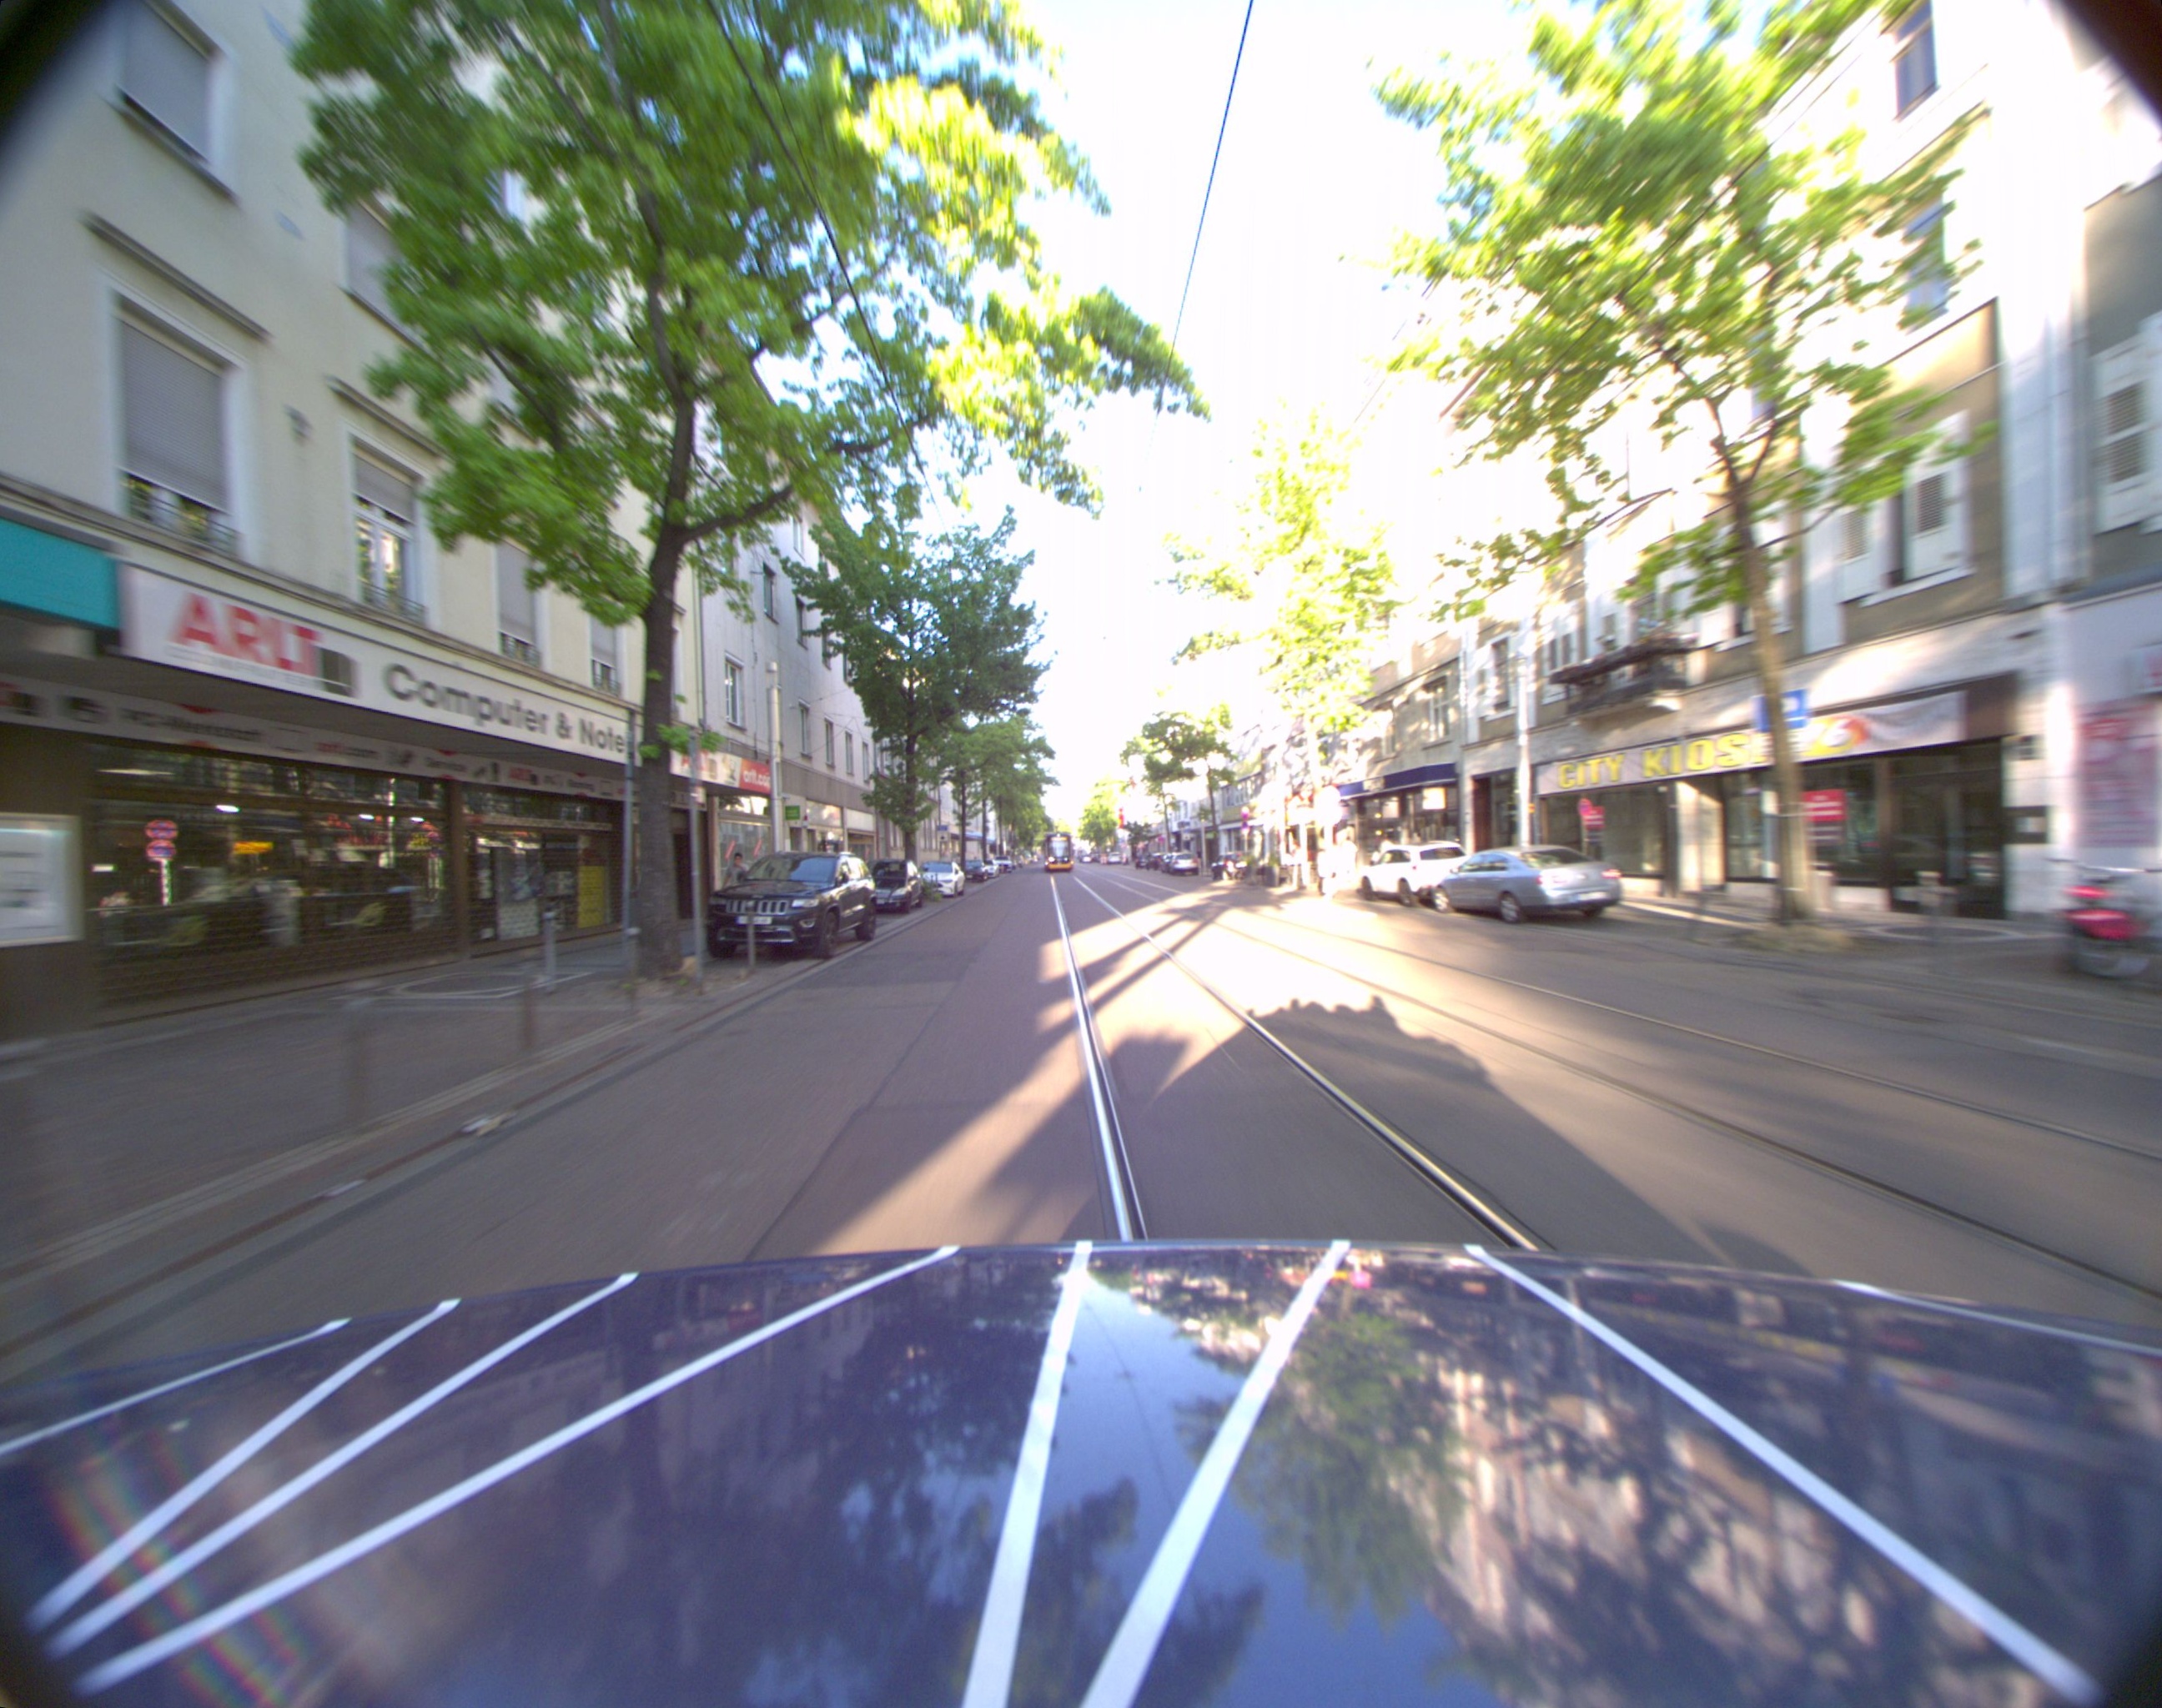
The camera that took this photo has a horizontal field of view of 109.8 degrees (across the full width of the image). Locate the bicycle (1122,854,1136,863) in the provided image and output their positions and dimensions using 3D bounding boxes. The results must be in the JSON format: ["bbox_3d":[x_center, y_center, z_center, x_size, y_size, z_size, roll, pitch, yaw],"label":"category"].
[{"bbox_3d":[6.372,0.609,100.818,1.749,0.986,0.478,-5,0,5],"label":"bicycle"}]

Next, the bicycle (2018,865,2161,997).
[{"bbox_3d":[10.309,0.725,7.738,1.954,1.098,0.566,-4,2,-27],"label":"bicycle"}]

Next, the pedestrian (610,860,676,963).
[{"bbox_3d":[-7.303,0.933,12.698,0.645,1.660,0.786,1,0,-2],"label":"pedestrian"}]

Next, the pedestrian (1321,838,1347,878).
[{"bbox_3d":[11.206,0.182,33.720,0.724,1.750,1.089,-2,1,-2],"label":"pedestrian"}]

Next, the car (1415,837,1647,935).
[{"bbox_3d":[9.048,0.562,15.865,1.841,1.571,4.701,-5,0,-2],"label":"car"}]

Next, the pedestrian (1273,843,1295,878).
[{"bbox_3d":[10.090,0.333,37.765,0.846,1.683,0.740,-2,1,-3],"label":"pedestrian"}]

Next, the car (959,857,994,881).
[{"bbox_3d":[-6.696,0.916,49.146,1.838,1.469,4.760,0,0,-3],"label":"car"}]

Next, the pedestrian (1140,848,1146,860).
[{"bbox_3d":[8.476,-0.012,104.349,0.643,1.703,0.829,-3,1,2],"label":"pedestrian"}]

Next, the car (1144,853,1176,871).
[{"bbox_3d":[6.994,0.701,67.492,1.797,1.481,4.239,-3,1,-8],"label":"car"}]

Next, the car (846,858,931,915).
[{"bbox_3d":[-5.894,0.938,23.684,1.781,1.582,3.890,2,0,-3],"label":"car"}]

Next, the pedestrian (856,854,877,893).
[{"bbox_3d":[-9.241,0.817,32.793,0.659,1.655,0.888,1,1,-3],"label":"pedestrian"}]

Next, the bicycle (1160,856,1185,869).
[{"bbox_3d":[7.379,0.695,61.288,1.976,0.995,0.330,-2,1,0],"label":"bicycle"}]

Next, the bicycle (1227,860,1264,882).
[{"bbox_3d":[7.903,0.819,36.506,1.620,0.960,0.433,-4,0,3],"label":"bicycle"}]

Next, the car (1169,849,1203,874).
[{"bbox_3d":[7.008,0.475,50.995,1.771,1.488,4.175,-2,1,2],"label":"car"}]

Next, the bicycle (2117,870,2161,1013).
[{"bbox_3d":[10.118,0.735,6.897,2.117,1.098,0.500,-4,2,-27],"label":"bicycle"}]

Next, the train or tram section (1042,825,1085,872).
[{"bbox_3d":[-1.808,-0.428,73.461,3.608,3.974,15.712,-2,0,-2],"label":"train or tram section"}]

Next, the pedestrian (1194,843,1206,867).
[{"bbox_3d":[9.315,0.108,59.579,0.661,1.815,0.878,-5,1,-2],"label":"pedestrian"}]

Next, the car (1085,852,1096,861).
[{"bbox_3d":[1.772,0.524,139.965,1.889,1.602,4.199,0,0,-2],"label":"car"}]

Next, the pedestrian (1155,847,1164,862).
[{"bbox_3d":[9.271,0.065,89.844,0.834,1.685,1.037,-4,1,-2],"label":"pedestrian"}]

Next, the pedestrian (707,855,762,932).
[{"bbox_3d":[-8.139,0.900,17.872,0.860,1.743,0.932,1,0,-2],"label":"pedestrian"}]

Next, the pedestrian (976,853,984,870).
[{"bbox_3d":[-9.598,0.701,72.398,0.651,1.564,0.798,-2,1,-2],"label":"pedestrian"}]

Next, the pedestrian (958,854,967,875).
[{"bbox_3d":[-10.683,0.897,68.500,0.715,1.876,1.052,0,1,-2],"label":"pedestrian"}]

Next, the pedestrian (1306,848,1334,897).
[{"bbox_3d":[7.538,0.564,24.008,0.621,1.501,0.729,-1,2,-2],"label":"pedestrian"}]

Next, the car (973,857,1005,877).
[{"bbox_3d":[-6.919,0.958,57.577,1.917,1.412,4.886,1,0,-2],"label":"car"}]

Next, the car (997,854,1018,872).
[{"bbox_3d":[-7.348,0.880,75.866,2.004,1.678,4.965,0,1,-5],"label":"car"}]

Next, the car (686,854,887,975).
[{"bbox_3d":[-5.020,0.917,13.777,1.943,1.749,4.678,2,0,-2],"label":"car"}]

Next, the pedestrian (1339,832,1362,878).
[{"bbox_3d":[11.961,0.044,33.744,0.724,2.002,0.642,-2,1,-2],"label":"pedestrian"}]

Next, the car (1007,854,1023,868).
[{"bbox_3d":[-9.251,0.967,107.227,1.957,1.782,4.315,-2,0,-1],"label":"car"}]

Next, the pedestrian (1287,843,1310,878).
[{"bbox_3d":[10.961,0.319,38.304,0.791,1.683,0.913,-2,1,-3],"label":"pedestrian"}]

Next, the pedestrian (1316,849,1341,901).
[{"bbox_3d":[7.567,0.632,23.232,0.522,1.560,0.633,-1,2,-2],"label":"pedestrian"}]

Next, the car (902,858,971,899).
[{"bbox_3d":[-5.813,0.951,31.161,1.999,1.489,4.679,1,0,-2],"label":"car"}]

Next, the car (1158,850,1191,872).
[{"bbox_3d":[7.045,0.506,57.503,1.716,1.452,4.485,-3,0,-2],"label":"car"}]

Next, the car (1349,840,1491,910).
[{"bbox_3d":[9.122,0.514,20.857,1.841,1.571,4.115,-5,0,-2],"label":"car"}]

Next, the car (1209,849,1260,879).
[{"bbox_3d":[8.109,0.505,40.422,1.670,1.420,3.826,-5,0,-3],"label":"car"}]

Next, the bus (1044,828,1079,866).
[{"bbox_3d":[-2.381,-0.704,89.995,3.617,3.974,17.479,-2,0,-2],"label":"bus"}]

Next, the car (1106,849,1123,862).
[{"bbox_3d":[4.870,0.212,112.252,1.999,1.744,4.743,-4,0,-3],"label":"car"}]

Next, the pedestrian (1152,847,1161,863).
[{"bbox_3d":[8.474,0.102,84.931,0.853,1.756,0.831,-2,0,-5],"label":"pedestrian"}]

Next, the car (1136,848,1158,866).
[{"bbox_3d":[6.597,0.298,75.558,1.633,1.606,3.711,-4,0,13],"label":"car"}]
